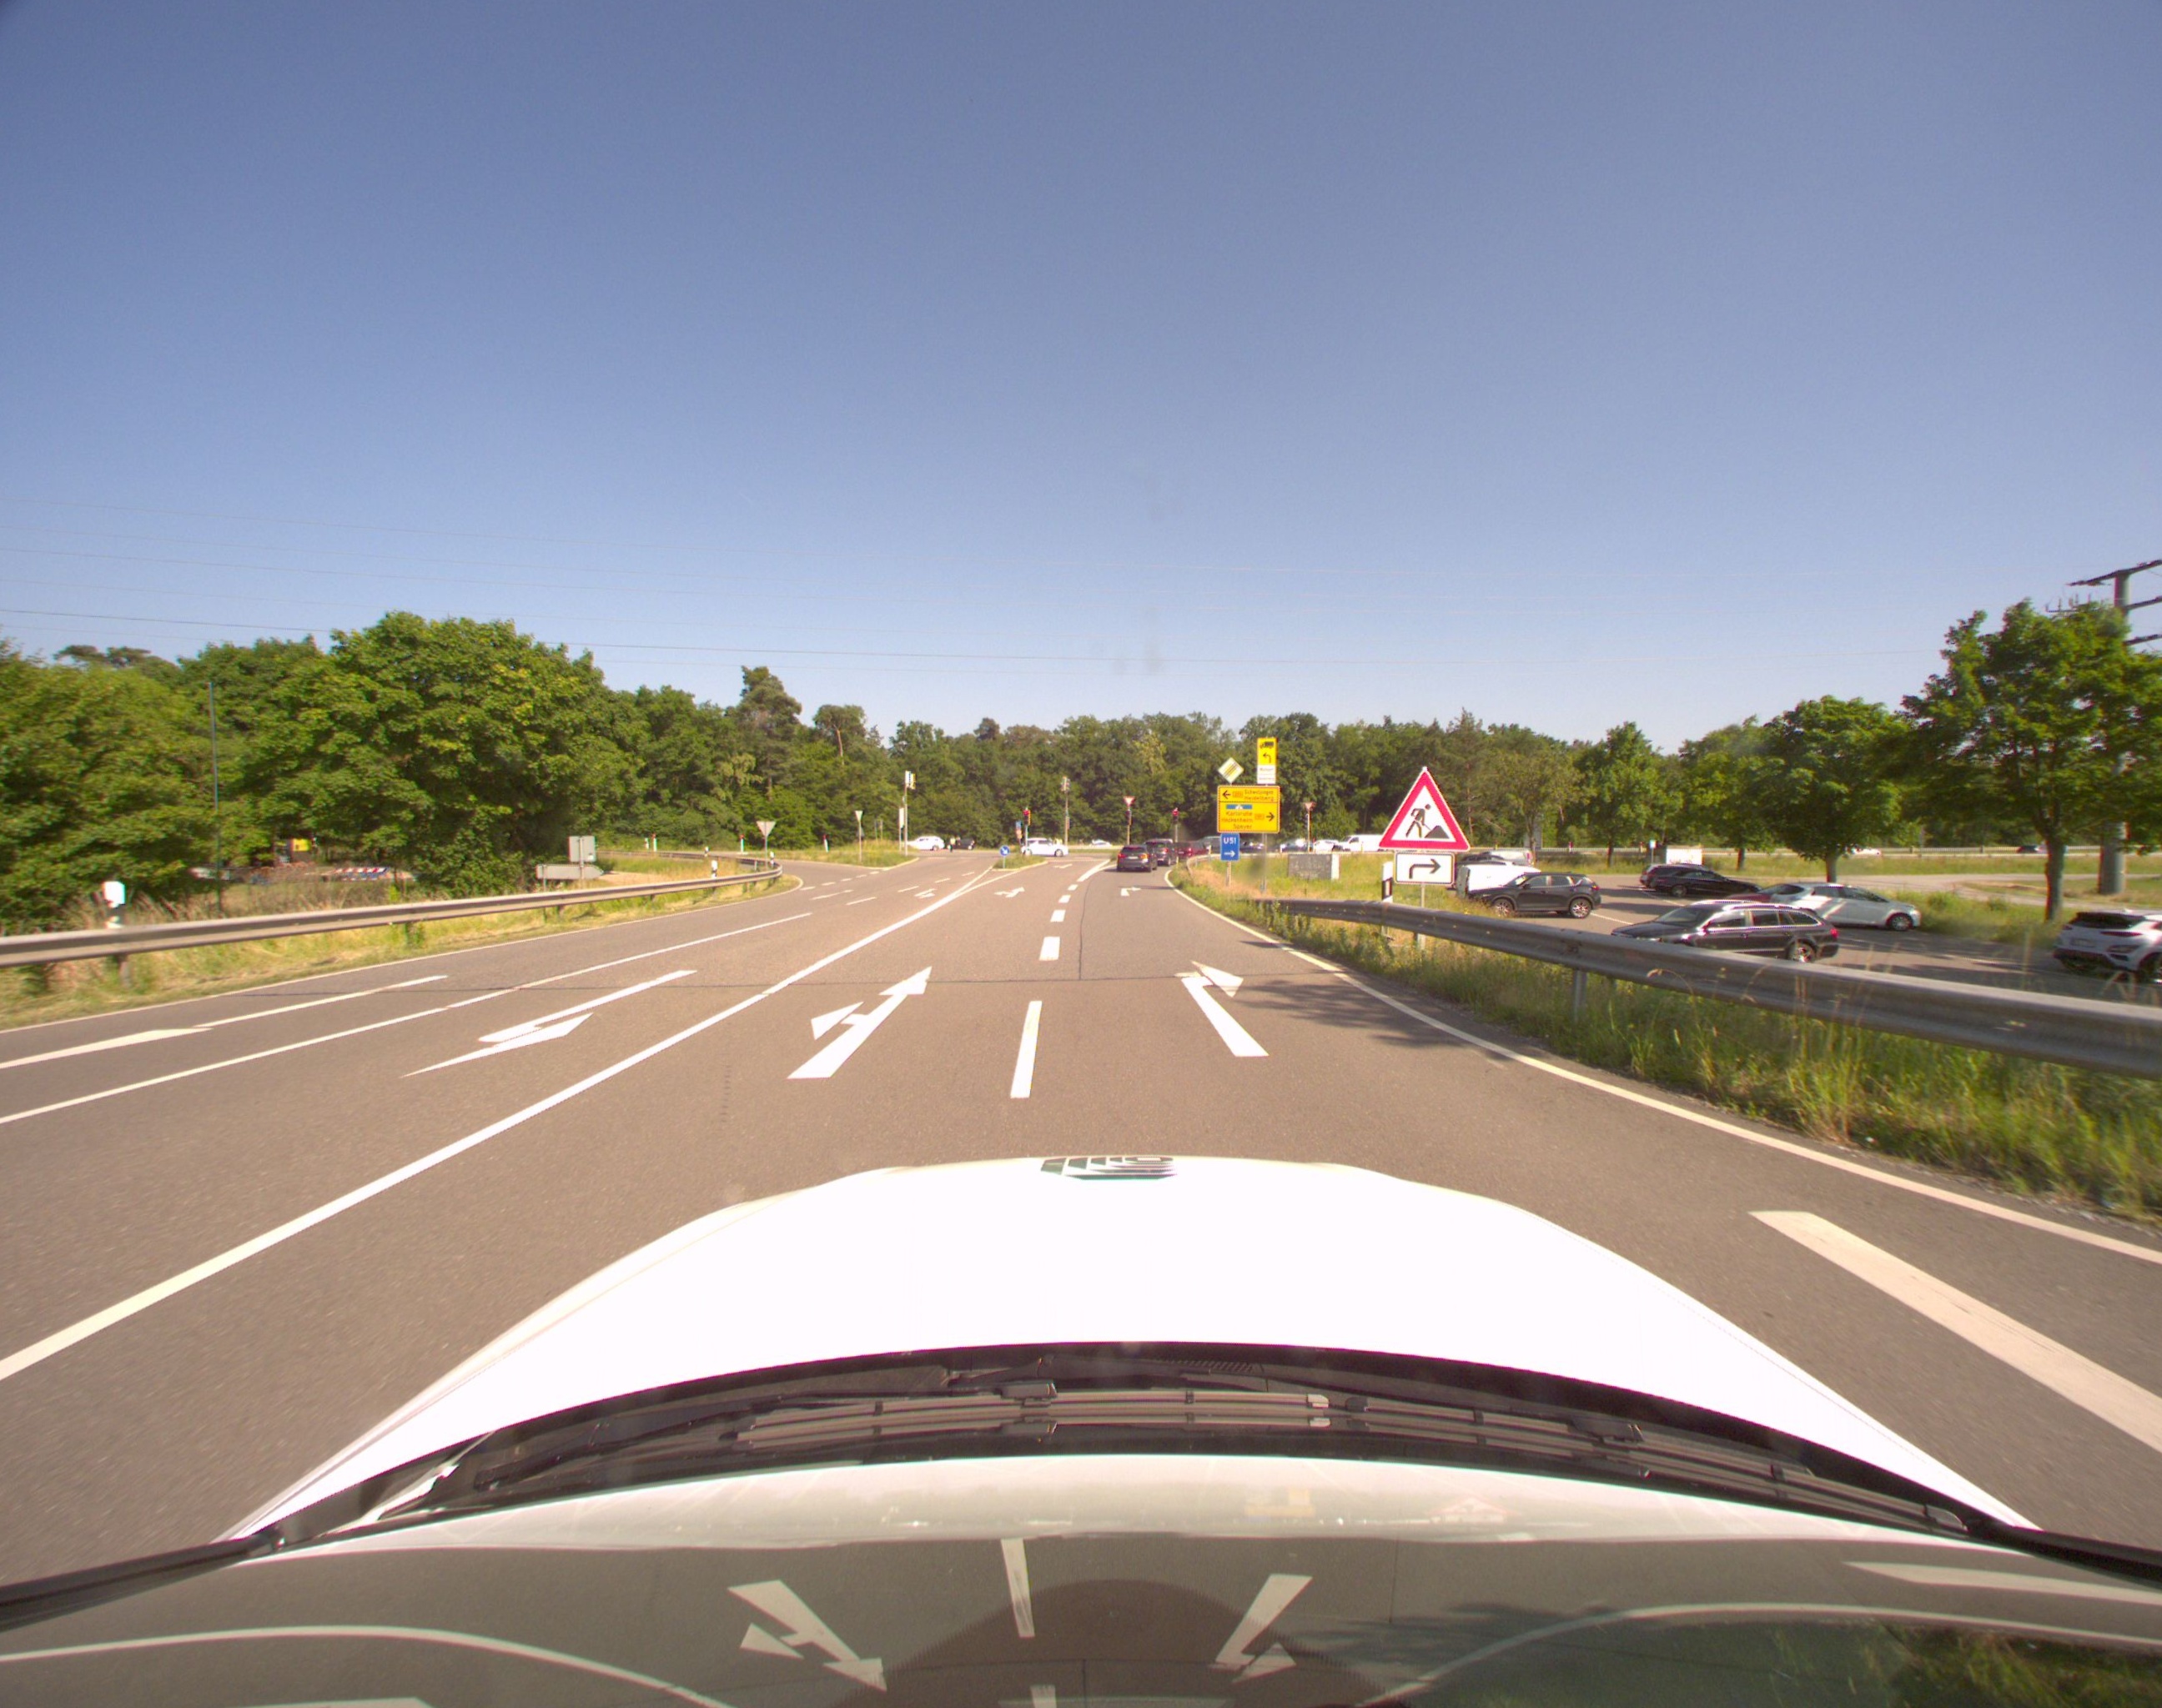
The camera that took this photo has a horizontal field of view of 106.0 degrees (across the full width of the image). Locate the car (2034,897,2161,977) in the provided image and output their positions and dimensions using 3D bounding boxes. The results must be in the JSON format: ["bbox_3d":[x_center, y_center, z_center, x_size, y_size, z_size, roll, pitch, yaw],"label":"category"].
[{"bbox_3d":[24.909,1.922,18.509,3.966,1.580,1.895,2,1,7],"label":"car"}]

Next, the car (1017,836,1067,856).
[{"bbox_3d":[-3.126,-0.617,64.965,3.831,1.486,1.886,-1,0,-8],"label":"car"}]

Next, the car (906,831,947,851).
[{"bbox_3d":[-16.823,-1.403,88.648,4.004,2.013,1.782,-2,1,-23],"label":"car"}]

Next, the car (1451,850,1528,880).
[{"bbox_3d":[24.930,0.626,49.762,3.949,1.619,1.903,3,1,33],"label":"car"}]

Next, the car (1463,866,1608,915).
[{"bbox_3d":[16.971,1.372,30.590,4.384,1.667,1.908,-1,1,11],"label":"car"}]

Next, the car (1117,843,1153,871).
[{"bbox_3d":[2.907,0.112,43.437,1.790,1.398,4.006,0,1,5],"label":"car"}]

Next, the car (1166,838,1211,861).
[{"bbox_3d":[7.430,-0.351,56.041,1.782,1.501,4.024,0,1,28],"label":"car"}]

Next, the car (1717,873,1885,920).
[{"bbox_3d":[27.183,1.563,30.941,4.320,1.447,2.010,2,1,18],"label":"car"}]

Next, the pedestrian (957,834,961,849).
[{"bbox_3d":[-14.138,-1.436,94.544,0.407,1.714,0.452,-2,0,-5],"label":"pedestrian"}]

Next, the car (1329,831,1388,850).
[{"bbox_3d":[25.925,-1.240,76.138,4.878,1.552,1.995,-2,1,-8],"label":"car"}]

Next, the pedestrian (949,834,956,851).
[{"bbox_3d":[-13.445,-1.198,85.221,0.757,1.721,0.676,-1,1,-11],"label":"pedestrian"}]

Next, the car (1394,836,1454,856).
[{"bbox_3d":[28.875,-0.693,68.657,4.226,1.459,1.995,-2,1,-8],"label":"car"}]

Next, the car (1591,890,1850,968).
[{"bbox_3d":[15.098,1.744,19.437,4.635,1.626,2.001,-1,1,1],"label":"car"}]

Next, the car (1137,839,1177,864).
[{"bbox_3d":[4.795,-0.188,50.779,1.786,1.501,4.017,0,1,16],"label":"car"}]

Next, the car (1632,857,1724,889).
[{"bbox_3d":[33.946,1.061,46.427,3.951,1.580,1.799,3,1,26],"label":"car"}]

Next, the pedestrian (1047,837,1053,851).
[{"bbox_3d":[-3.100,-1.012,81.106,0.520,1.390,0.515,-2,0,10],"label":"pedestrian"}]

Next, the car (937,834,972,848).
[{"bbox_3d":[-14.802,-1.523,95.488,3.984,1.422,1.791,-2,1,-8],"label":"car"}]

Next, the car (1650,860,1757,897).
[{"bbox_3d":[31.395,1.215,41.213,3.951,1.580,1.902,3,1,26],"label":"car"}]

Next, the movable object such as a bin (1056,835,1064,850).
[{"bbox_3d":[-2.122,-1.143,81.806,0.599,1.488,0.733,-2,0,6],"label":"movable object such as a bin"}]

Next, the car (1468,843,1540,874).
[{"bbox_3d":[28.524,0.300,54.908,3.949,1.876,1.903,3,1,38],"label":"car"}]

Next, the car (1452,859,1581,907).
[{"bbox_3d":[17.803,1.159,33.504,4.326,1.783,1.908,1,1,11],"label":"car"}]

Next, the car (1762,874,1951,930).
[{"bbox_3d":[26.991,1.624,28.535,4.320,1.589,2.010,2,1,18],"label":"car"}]

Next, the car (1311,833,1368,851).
[{"bbox_3d":[25.304,-1.169,79.773,4.878,1.552,1.995,-2,1,-8],"label":"car"}]

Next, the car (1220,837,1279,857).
[{"bbox_3d":[13.955,-0.580,67.545,4.362,1.459,1.995,-2,1,-8],"label":"car"}]
